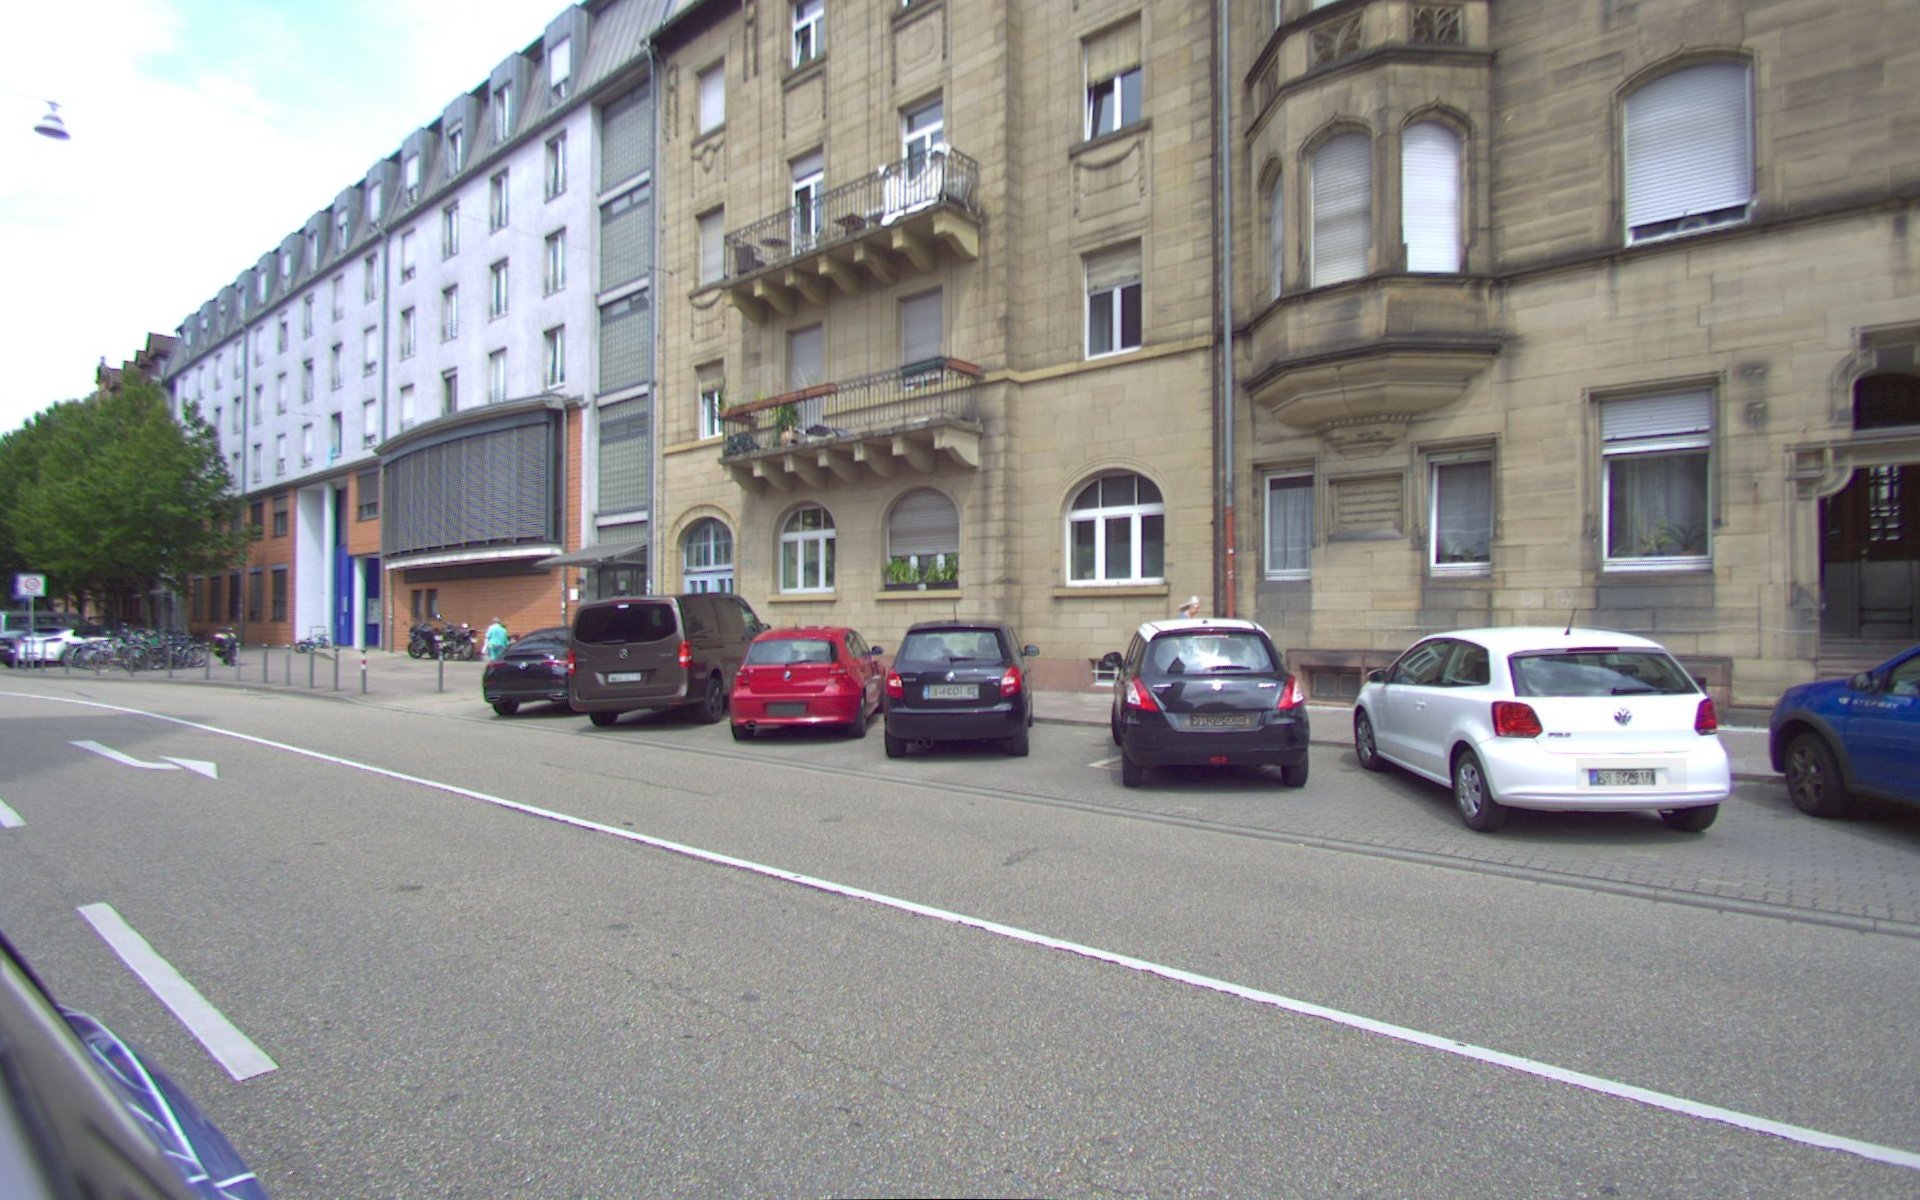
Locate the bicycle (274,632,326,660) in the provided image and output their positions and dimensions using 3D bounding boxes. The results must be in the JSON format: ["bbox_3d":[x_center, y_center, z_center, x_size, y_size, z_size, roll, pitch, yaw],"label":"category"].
[{"bbox_3d":[-26.179,1.807,40.133,1.590,0.933,0.933,-6,2,-37],"label":"bicycle"}]

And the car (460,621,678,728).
[{"bbox_3d":[-6.665,1.191,17.902,1.874,1.420,4.669,-2,1,2],"label":"car"}]

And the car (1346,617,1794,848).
[{"bbox_3d":[4.674,0.910,8.470,1.720,1.493,3.680,-1,-2,5],"label":"car"}]

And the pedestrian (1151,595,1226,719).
[{"bbox_3d":[3.123,0.756,13.839,0.678,1.607,0.783,-2,0,41],"label":"pedestrian"}]

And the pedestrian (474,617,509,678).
[{"bbox_3d":[-11.744,1.179,25.386,0.509,1.497,0.653,-2,-2,43],"label":"pedestrian"}]

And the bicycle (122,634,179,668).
[{"bbox_3d":[-26.269,1.644,32.856,0.402,1.034,1.390,-2,-2,43],"label":"bicycle"}]

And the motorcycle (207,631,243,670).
[{"bbox_3d":[-23.166,1.570,31.878,1.779,1.181,0.577,-2,-1,43],"label":"motorcycle"}]

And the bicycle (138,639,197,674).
[{"bbox_3d":[-24.522,1.747,31.318,0.402,1.034,1.390,-2,-2,43],"label":"bicycle"}]

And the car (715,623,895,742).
[{"bbox_3d":[-1.994,1.045,14.115,1.772,1.420,4.009,0,-2,2],"label":"car"}]

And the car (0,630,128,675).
[{"bbox_3d":[-32.681,1.839,36.370,1.697,1.480,4.307,-1,-2,7],"label":"car"}]

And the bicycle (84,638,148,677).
[{"bbox_3d":[-24.918,1.685,29.904,0.402,1.046,1.391,-2,0,43],"label":"bicycle"}]

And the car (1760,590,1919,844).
[{"bbox_3d":[7.098,0.750,6.101,1.703,1.664,3.772,-1,-2,5],"label":"car"}]

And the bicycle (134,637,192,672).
[{"bbox_3d":[-25.232,1.722,32.060,0.402,1.034,1.390,-2,-2,43],"label":"bicycle"}]

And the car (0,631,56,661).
[{"bbox_3d":[-45.349,2.188,47.719,1.577,1.400,3.996,-1,-2,7],"label":"car"}]

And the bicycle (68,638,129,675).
[{"bbox_3d":[-26.495,1.737,31.137,0.402,1.046,1.391,-2,0,43],"label":"bicycle"}]

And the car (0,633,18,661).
[{"bbox_3d":[-55.160,2.626,56.232,1.671,1.580,3.996,-1,-2,7],"label":"car"}]

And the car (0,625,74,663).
[{"bbox_3d":[-41.182,1.897,43.941,1.692,1.627,3.996,-1,-2,7],"label":"car"}]

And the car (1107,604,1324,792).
[{"bbox_3d":[2.472,0.883,10.634,1.776,1.576,4.001,-1,-2,9],"label":"car"}]

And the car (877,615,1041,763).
[{"bbox_3d":[0.139,0.966,12.453,1.611,1.514,3.989,-1,-2,6],"label":"car"}]

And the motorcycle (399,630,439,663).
[{"bbox_3d":[-17.673,1.516,33.030,1.655,1.057,0.577,-2,-1,40],"label":"motorcycle"}]

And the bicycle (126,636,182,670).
[{"bbox_3d":[-25.903,1.697,32.535,0.402,1.034,1.390,-2,-2,43],"label":"bicycle"}]

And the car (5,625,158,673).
[{"bbox_3d":[-30.535,1.672,35.345,1.583,1.557,3.997,-1,-2,7],"label":"car"}]

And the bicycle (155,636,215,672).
[{"bbox_3d":[-23.458,1.632,30.653,0.402,1.034,1.390,-2,-2,43],"label":"bicycle"}]

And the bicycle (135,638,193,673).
[{"bbox_3d":[-24.910,1.735,31.689,0.402,1.034,1.390,-2,-2,43],"label":"bicycle"}]

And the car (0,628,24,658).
[{"bbox_3d":[-53.135,2.340,54.404,1.671,1.580,3.996,-1,-2,7],"label":"car"}]

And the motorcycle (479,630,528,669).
[{"bbox_3d":[-13.085,1.415,28.983,1.793,1.057,0.577,-2,-1,42],"label":"motorcycle"}]

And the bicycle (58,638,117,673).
[{"bbox_3d":[-27.926,1.775,32.408,0.402,1.034,1.391,-2,0,43],"label":"bicycle"}]

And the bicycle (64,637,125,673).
[{"bbox_3d":[-26.981,1.699,31.558,0.402,1.034,1.391,-2,0,43],"label":"bicycle"}]

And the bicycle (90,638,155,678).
[{"bbox_3d":[-24.247,1.669,29.317,0.402,1.046,1.391,-2,0,43],"label":"bicycle"}]

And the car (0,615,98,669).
[{"bbox_3d":[-37.035,1.634,40.242,1.841,2.013,3.993,-1,0,10],"label":"car"}]

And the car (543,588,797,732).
[{"bbox_3d":[-4.373,0.885,16.341,2.096,1.924,5.260,-1,-2,7],"label":"car"}]

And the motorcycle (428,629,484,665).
[{"bbox_3d":[-15.740,1.469,31.572,1.959,1.057,0.579,-2,-1,30],"label":"motorcycle"}]

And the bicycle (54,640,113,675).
[{"bbox_3d":[-28.527,1.861,32.945,0.402,1.034,1.391,-2,0,43],"label":"bicycle"}]

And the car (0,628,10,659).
[{"bbox_3d":[-59.741,2.647,60.608,1.671,1.872,4.035,-1,-2,7],"label":"car"}]

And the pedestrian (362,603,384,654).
[{"bbox_3d":[-23.658,1.166,40.801,0.718,2.029,0.785,1,-2,-29],"label":"pedestrian"}]

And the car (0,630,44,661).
[{"bbox_3d":[-47.097,2.217,48.975,1.671,1.465,3.996,-1,-2,7],"label":"car"}]
